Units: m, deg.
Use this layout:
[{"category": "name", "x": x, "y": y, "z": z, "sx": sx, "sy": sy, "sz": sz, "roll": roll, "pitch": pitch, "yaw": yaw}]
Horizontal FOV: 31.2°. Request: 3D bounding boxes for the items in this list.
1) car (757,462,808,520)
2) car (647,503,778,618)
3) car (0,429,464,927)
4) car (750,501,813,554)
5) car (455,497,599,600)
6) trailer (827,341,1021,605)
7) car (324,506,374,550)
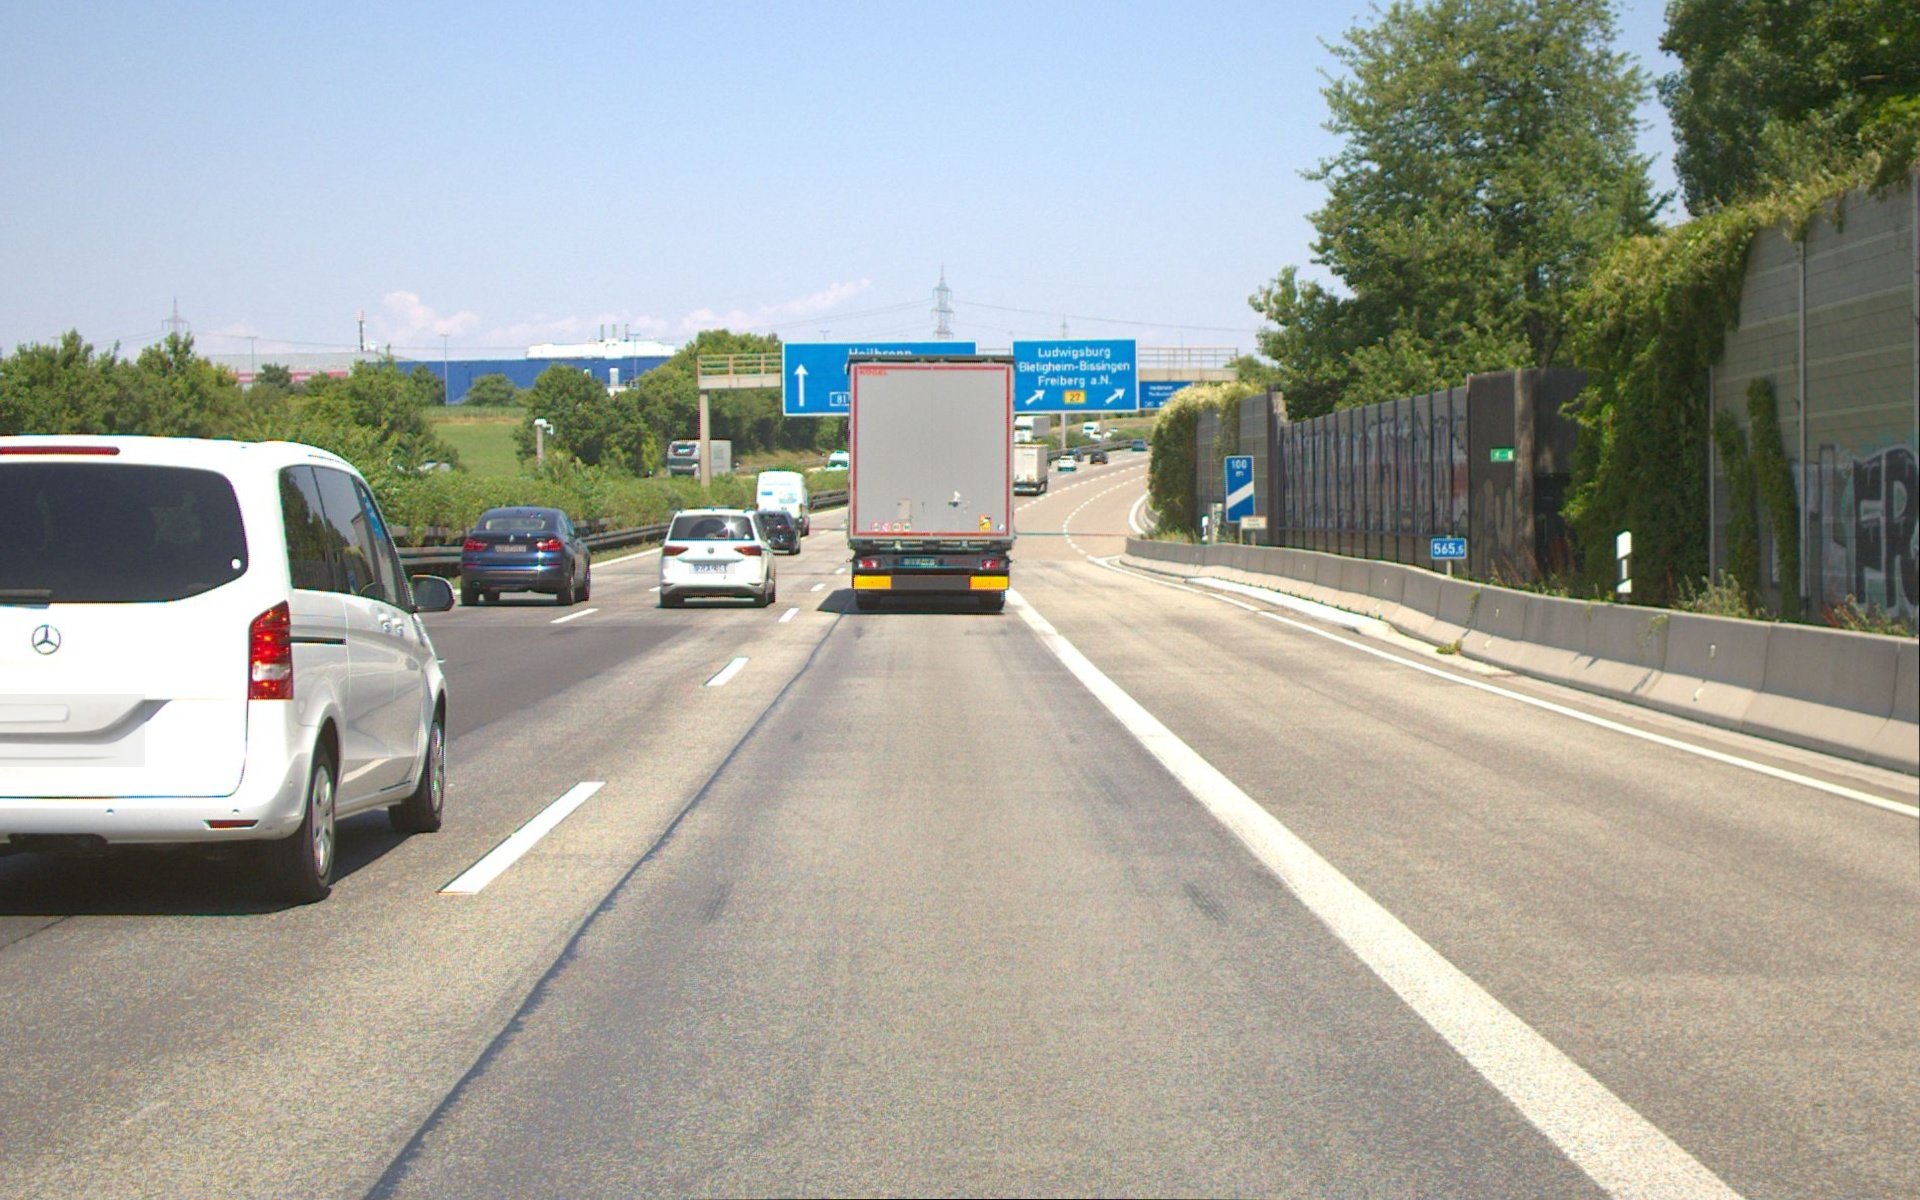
[{"category": "car", "x": -7.601, "y": -4.661, "z": 147.390, "sx": 1.993, "sy": 2.366, "sz": 4.000, "roll": 1, "pitch": 0, "yaw": -1}, {"category": "car", "x": -4.112, "y": -0.686, "z": 57.731, "sx": 1.904, "sy": 1.845, "sz": 4.631, "roll": 0, "pitch": 1, "yaw": -1}, {"category": "car", "x": -3.464, "y": 0.236, "z": 15.114, "sx": 1.930, "sy": 1.845, "sz": 4.693, "roll": 0, "pitch": 1, "yaw": -1}, {"category": "car", "x": -5.852, "y": -2.381, "z": 113.117, "sx": 1.904, "sy": 1.683, "sz": 4.631, "roll": 0, "pitch": 1, "yaw": -1}, {"category": "car", "x": -7.347, "y": -0.894, "z": 58.713, "sx": 1.904, "sy": 1.683, "sz": 4.631, "roll": 0, "pitch": 1, "yaw": -1}, {"category": "trailer", "x": -0.617, "y": -2.064, "z": 58.444, "sx": 2.928, "sy": 4.001, "sz": 12.039, "roll": 0, "pitch": 1, "yaw": -1}, {"category": "car", "x": -28.662, "y": -3.382, "z": 161.267, "sx": 1.671, "sy": 2.007, "sz": 4.000, "roll": 0, "pitch": 1, "yaw": -1}]
